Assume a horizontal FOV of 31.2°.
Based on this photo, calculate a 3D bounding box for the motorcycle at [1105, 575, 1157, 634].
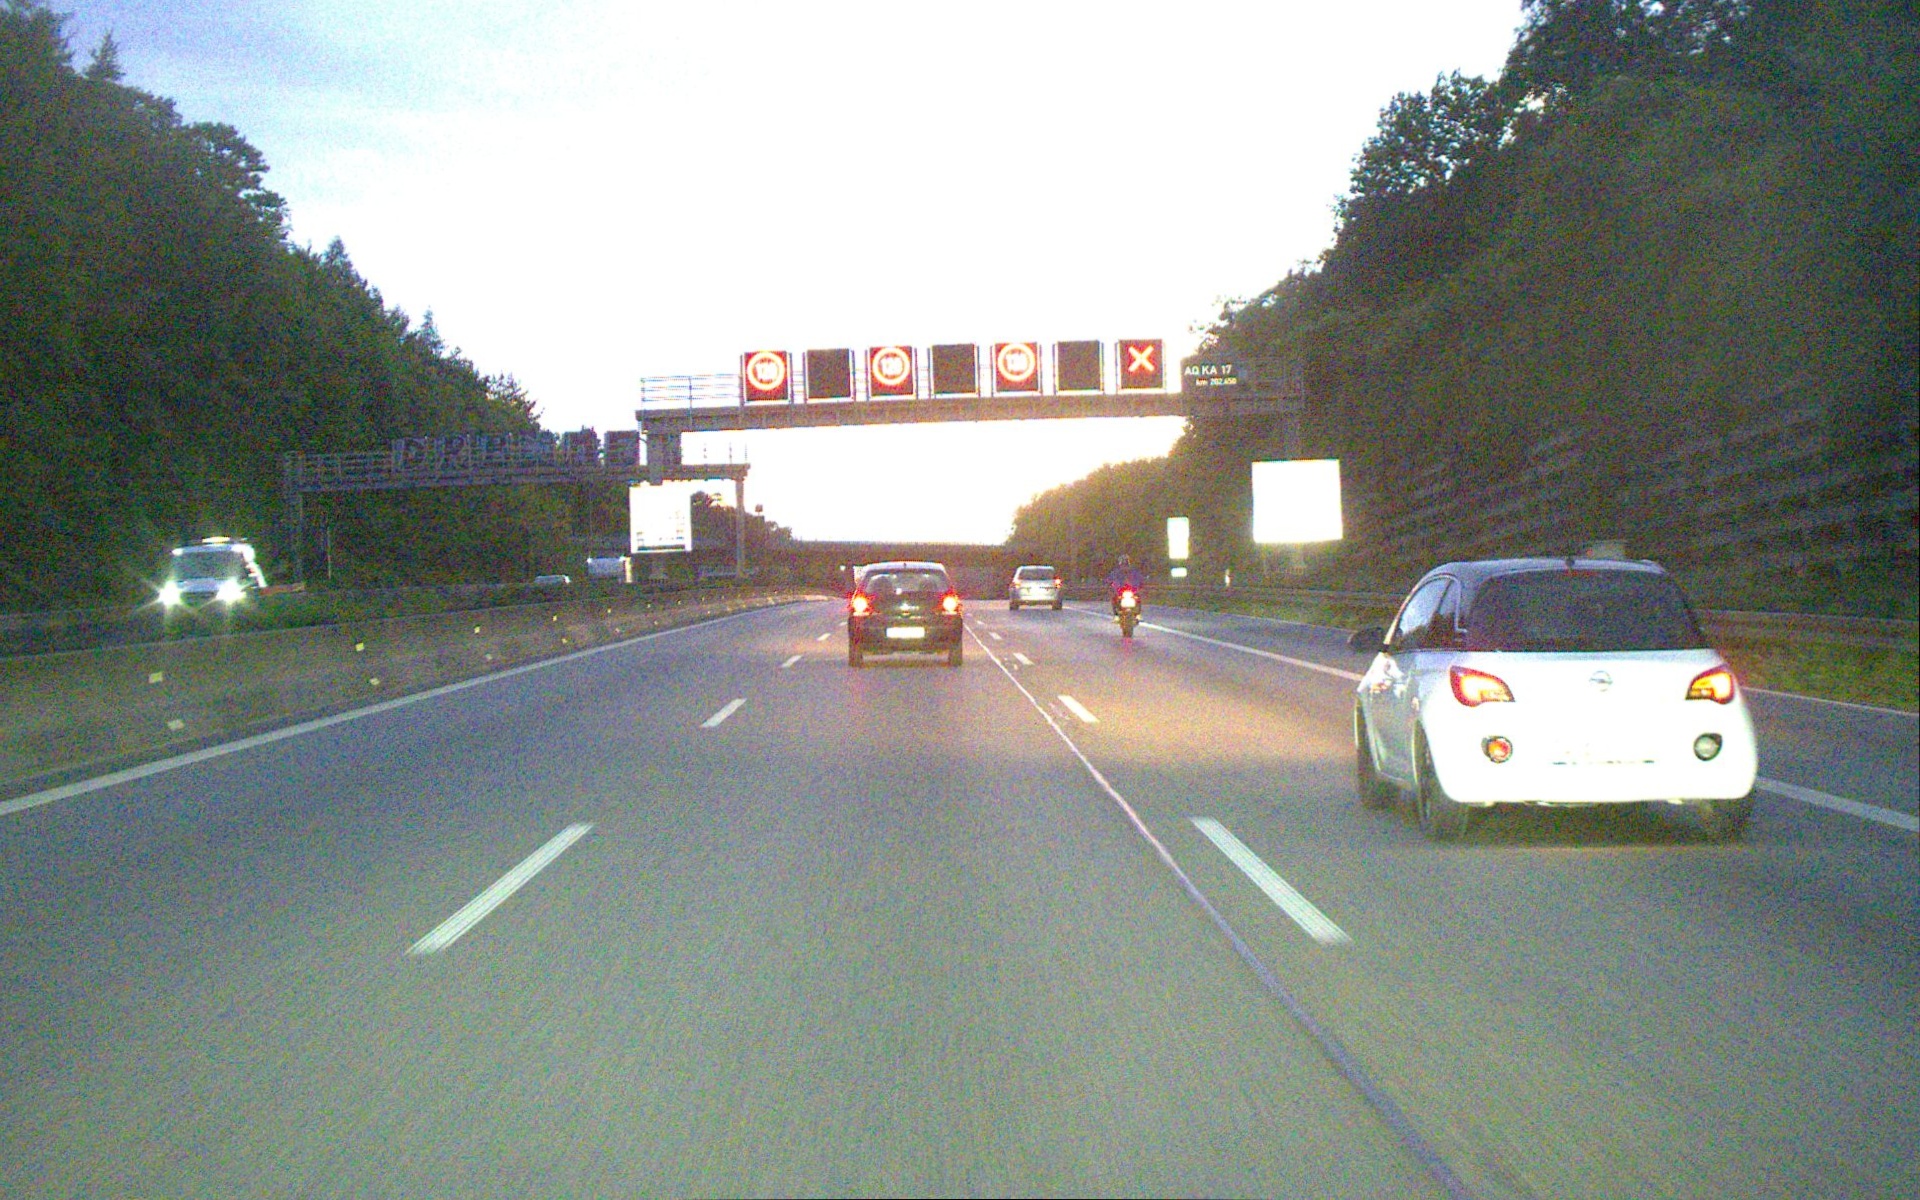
[{"bbox_3d":[3.320,0.080,66.941,0.829,1.130,2.476,-1,0,-1],"label":"motorcycle"}]

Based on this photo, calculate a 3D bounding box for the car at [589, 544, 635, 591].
[{"bbox_3d":[-21.727,-2.034,214.872,1.982,2.871,7.834,-1,0,1],"label":"car"}]

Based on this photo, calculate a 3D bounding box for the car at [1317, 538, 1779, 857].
[{"bbox_3d":[3.130,0.444,19.182,1.825,1.470,4.399,1,2,0],"label":"car"}]

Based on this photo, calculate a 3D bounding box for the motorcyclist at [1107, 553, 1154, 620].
[{"bbox_3d":[3.316,-0.260,66.871,0.829,1.287,1.190,-1,0,-1],"label":"motorcyclist"}]

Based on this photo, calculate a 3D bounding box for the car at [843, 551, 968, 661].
[{"bbox_3d":[-0.755,0.090,49.572,1.704,1.504,4.232,1,0,0],"label":"car"}]

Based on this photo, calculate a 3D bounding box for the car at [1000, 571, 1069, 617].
[{"bbox_3d":[2.499,-0.195,116.777,1.865,1.489,4.399,1,0,-5],"label":"car"}]

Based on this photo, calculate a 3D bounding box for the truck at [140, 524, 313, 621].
[{"bbox_3d":[-19.855,-0.781,93.612,2.461,2.501,9.754,0,1,1],"label":"truck"}]
